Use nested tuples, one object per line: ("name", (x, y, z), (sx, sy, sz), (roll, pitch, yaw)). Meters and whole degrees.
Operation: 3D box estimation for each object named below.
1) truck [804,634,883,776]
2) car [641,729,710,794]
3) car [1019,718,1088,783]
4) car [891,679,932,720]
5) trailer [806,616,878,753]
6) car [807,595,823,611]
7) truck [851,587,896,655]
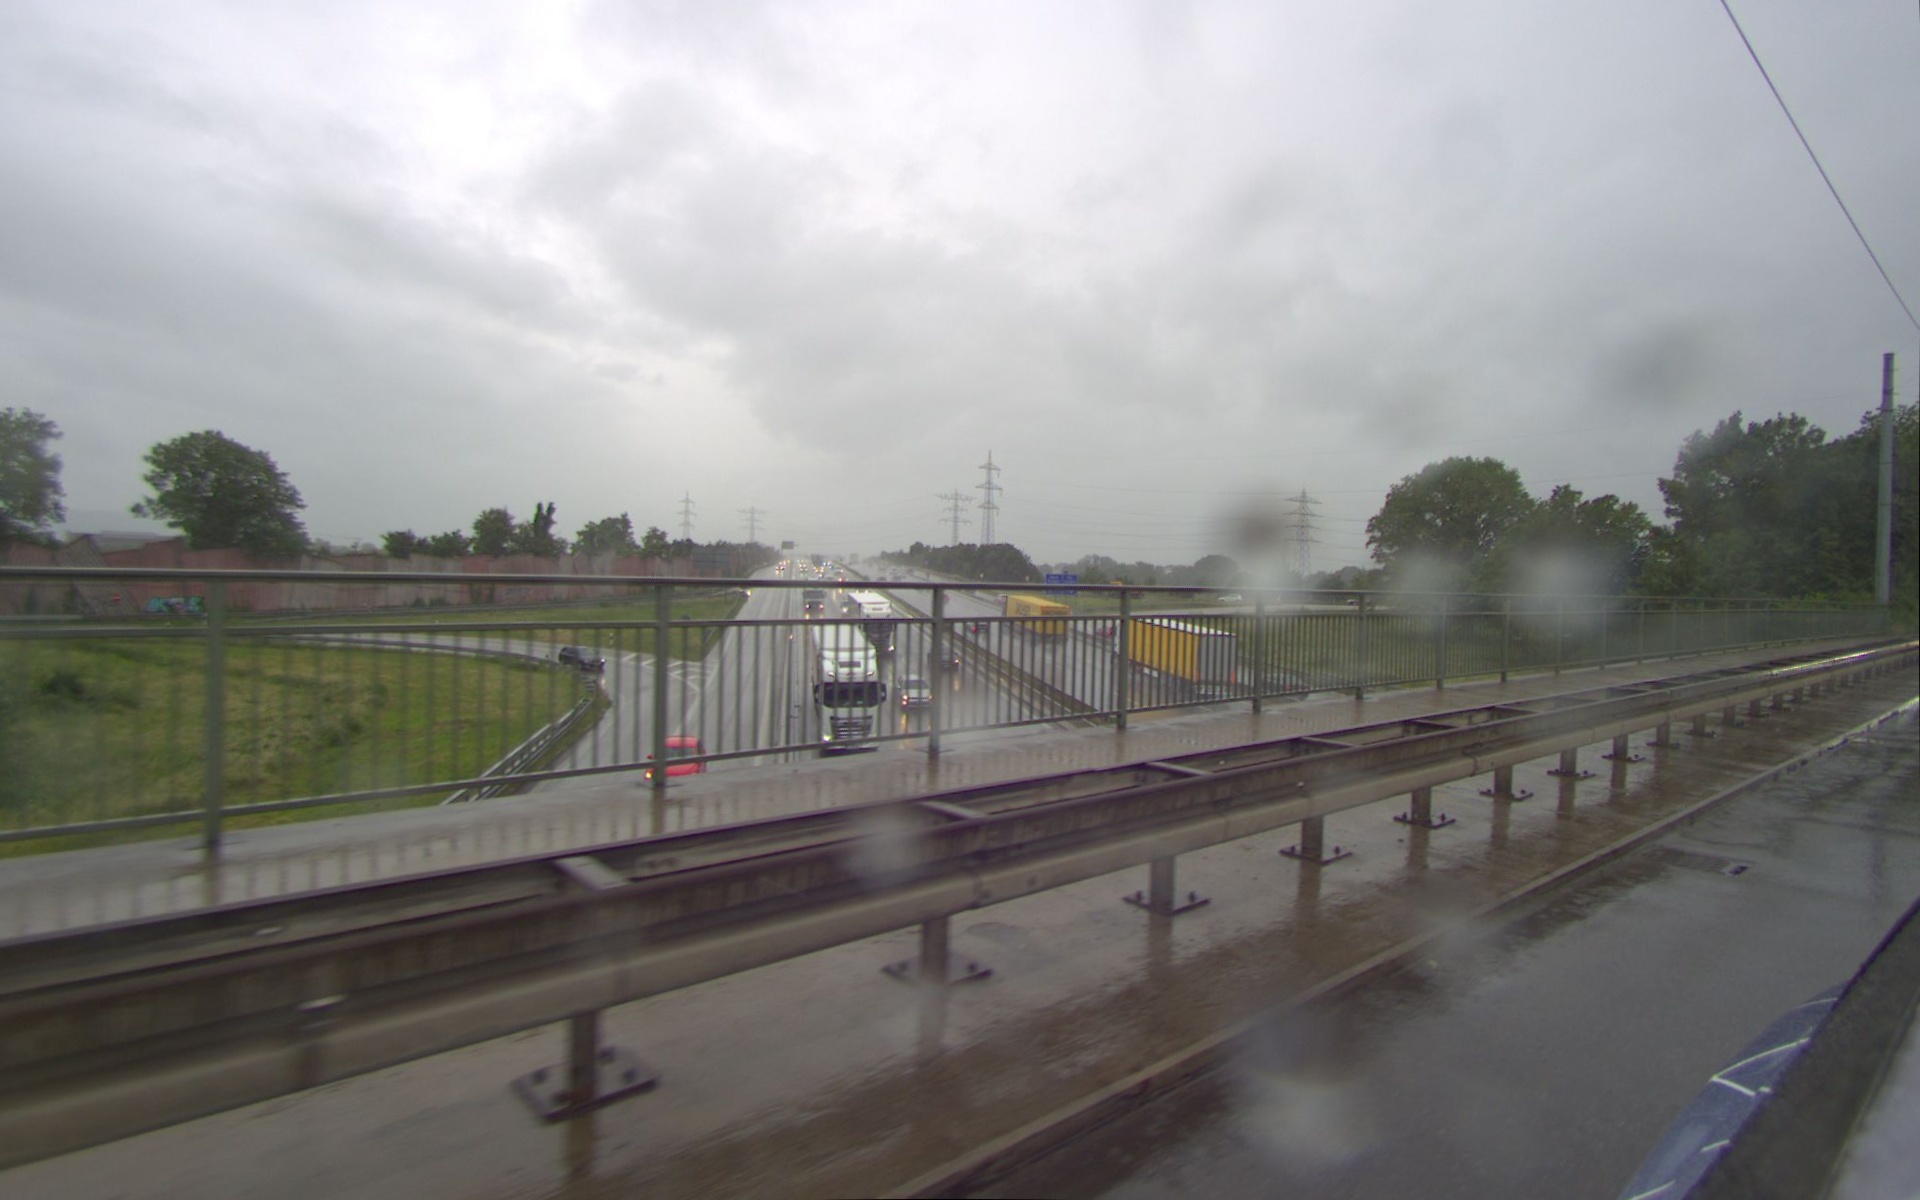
("truck", (-5.026, 4.320, 43.588), (3.079, 5.176, 5.816), (-1, 3, -7))
("car", (-9.709, 5.488, 34.814), (1.769, 1.605, 4.004), (-2, -2, -8))
("car", (3.571, 5.806, 39.466), (1.769, 1.603, 4.009), (-2, 4, -8))
("car", (-2.635, 5.300, 54.322), (1.769, 1.517, 4.008), (-2, 3, -8))
("trailer", (-6.061, 3.824, 51.418), (3.079, 5.008, 13.871), (-1, 3, -7))
("car", (-17.834, 0.352, 124.491), (1.832, 1.857, 3.875), (0, 0, -7))
("truck", (-7.093, 1.468, 81.580), (3.079, 4.496, 12.404), (-1, 3, -7))
